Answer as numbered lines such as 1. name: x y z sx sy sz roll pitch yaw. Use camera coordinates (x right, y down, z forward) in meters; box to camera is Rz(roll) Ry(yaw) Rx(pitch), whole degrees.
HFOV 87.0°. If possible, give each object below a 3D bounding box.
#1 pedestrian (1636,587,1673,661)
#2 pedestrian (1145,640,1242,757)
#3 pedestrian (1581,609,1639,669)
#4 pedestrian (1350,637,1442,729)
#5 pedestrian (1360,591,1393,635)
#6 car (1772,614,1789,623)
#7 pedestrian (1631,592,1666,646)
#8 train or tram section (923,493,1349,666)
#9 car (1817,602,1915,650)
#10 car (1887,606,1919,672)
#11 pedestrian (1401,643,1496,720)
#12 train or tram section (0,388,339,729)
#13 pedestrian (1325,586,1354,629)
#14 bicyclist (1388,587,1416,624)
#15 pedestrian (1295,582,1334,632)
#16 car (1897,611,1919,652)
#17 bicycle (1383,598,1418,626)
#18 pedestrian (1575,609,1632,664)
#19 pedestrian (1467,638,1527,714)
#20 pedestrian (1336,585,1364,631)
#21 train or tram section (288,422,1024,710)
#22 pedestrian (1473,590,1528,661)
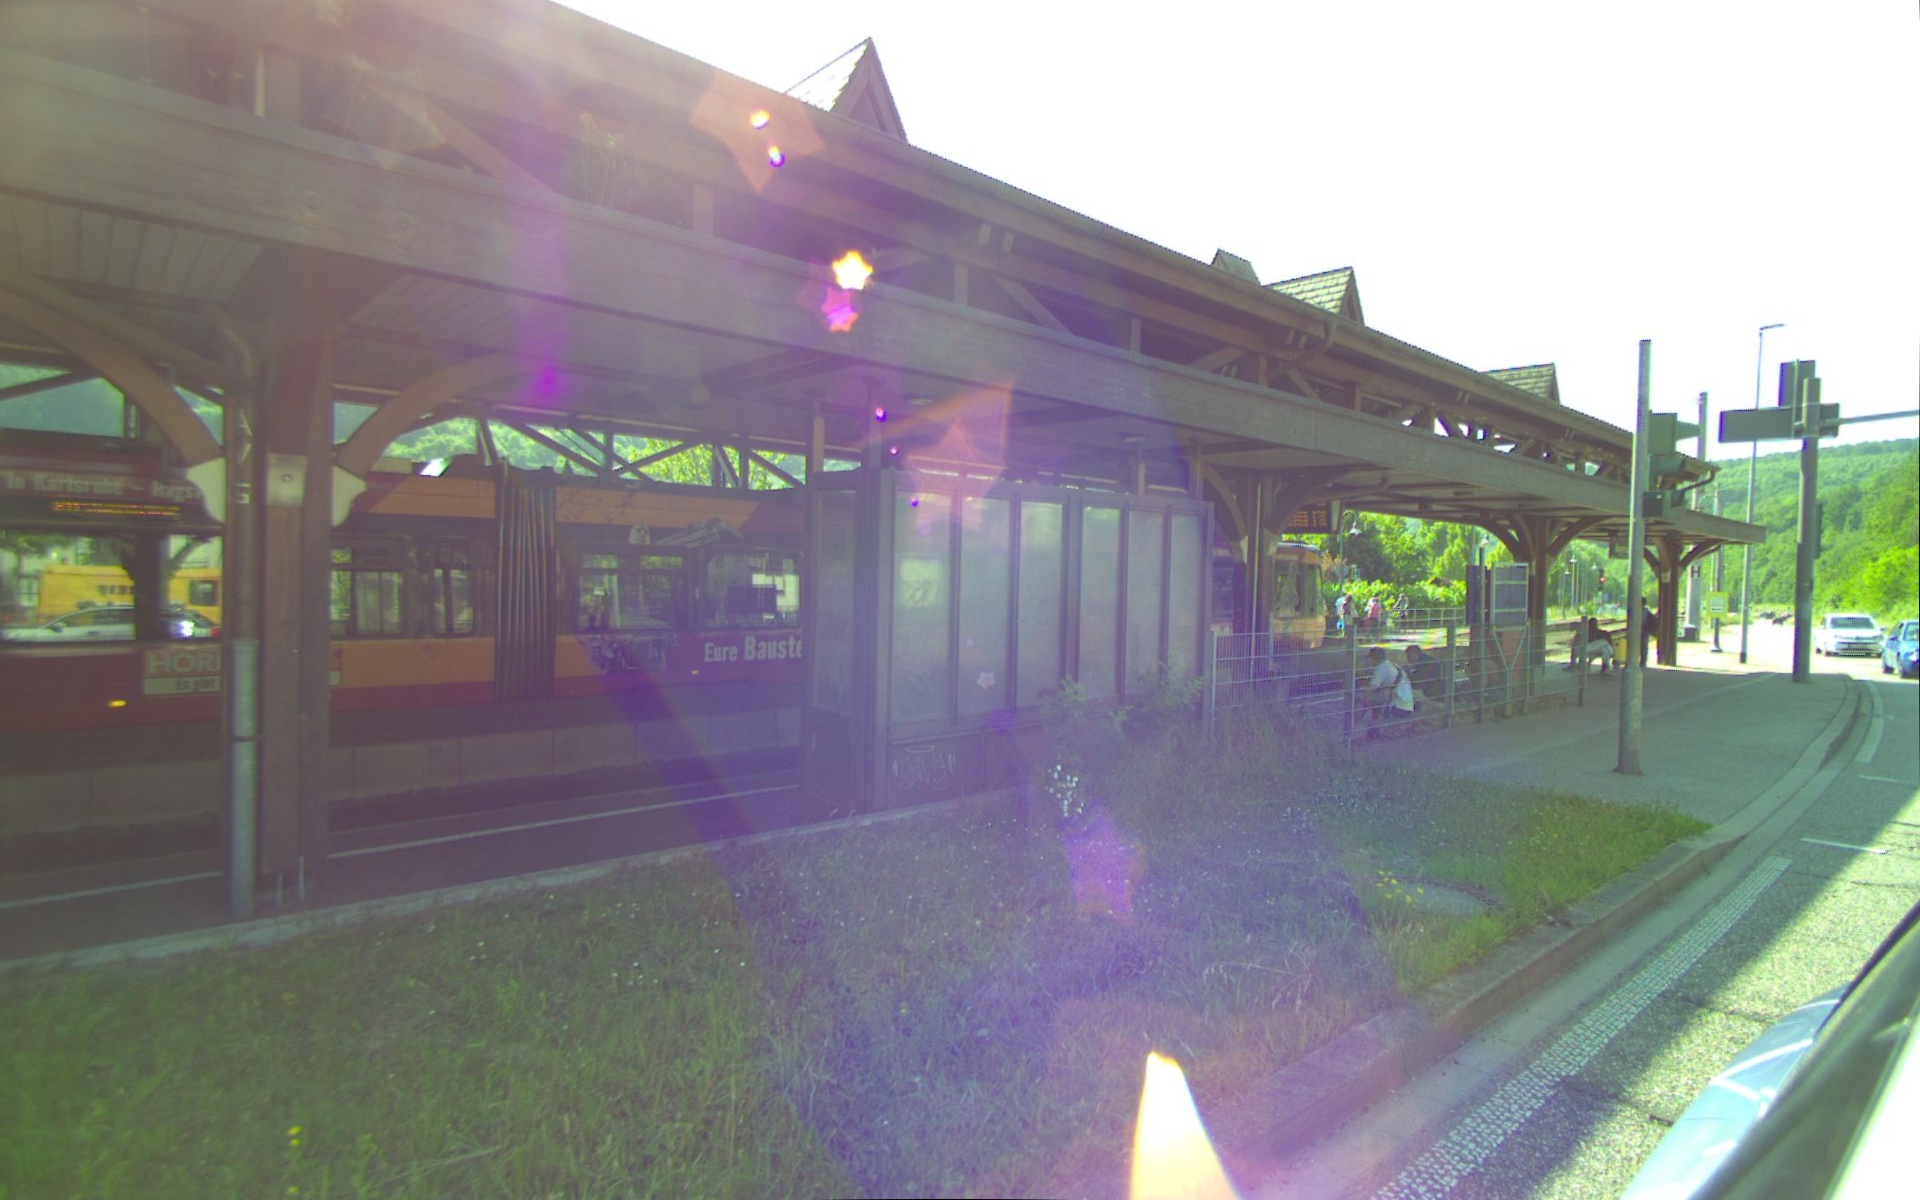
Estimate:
1. pedestrian: 16.598 0.566 24.186 0.655 1.713 0.729 1 0 38
2. pedestrian: 2.401 0.984 10.423 0.742 1.131 0.656 -1 -3 45
3. pedestrian: 13.850 0.827 21.566 0.989 1.252 0.588 -1 -3 38
4. pedestrian: 4.979 0.921 11.550 0.742 0.995 0.757 -1 -3 45
5. pedestrian: 16.680 0.528 40.549 0.805 1.706 0.905 1 -2 -12
6. car: 160.517 3.552 197.955 1.984 1.706 3.954 -1 -2 31
7. pedestrian: 22.967 0.630 33.780 0.910 1.759 1.236 -1 -2 33
8. train or tram section: 5.303 -0.384 25.844 14.112 3.407 2.858 0 0 -43
9. car: 32.092 0.908 35.967 1.986 1.605 3.951 -1 -1 34
10. car: 24.077 0.930 24.506 1.855 1.501 4.246 1 1 36
11. pedestrian: 6.009 0.983 12.454 0.845 0.885 0.795 -1 -3 45
12. train or tram section: -12.752 -0.437 9.169 11.836 3.407 2.760 1 -2 -41
13. pedestrian: 15.542 0.321 41.419 0.865 1.706 0.809 -2 -3 45
14. bicyclist: 21.026 0.271 48.162 1.006 1.749 0.853 -1 -3 41
15. pedestrian: 13.500 0.264 38.530 1.054 1.867 0.989 3 -2 -39
16. car: 37.876 1.222 39.015 1.967 1.523 3.937 0 -1 34
17. bicycle: 20.926 0.596 48.046 0.869 1.270 2.261 -1 -2 41
18. pedestrian: 14.421 0.799 22.671 1.004 1.174 0.936 1 0 38
19. pedestrian: 7.172 0.997 13.528 0.617 0.978 0.400 -1 -3 45
20. pedestrian: 14.725 0.300 38.211 0.895 1.706 0.814 -1 -2 29
21. train or tram section: -4.044 -0.405 17.025 11.843 3.407 2.789 0 -1 -43
22. pedestrian: 12.316 0.568 23.057 0.907 1.567 0.861 2 -1 -44
